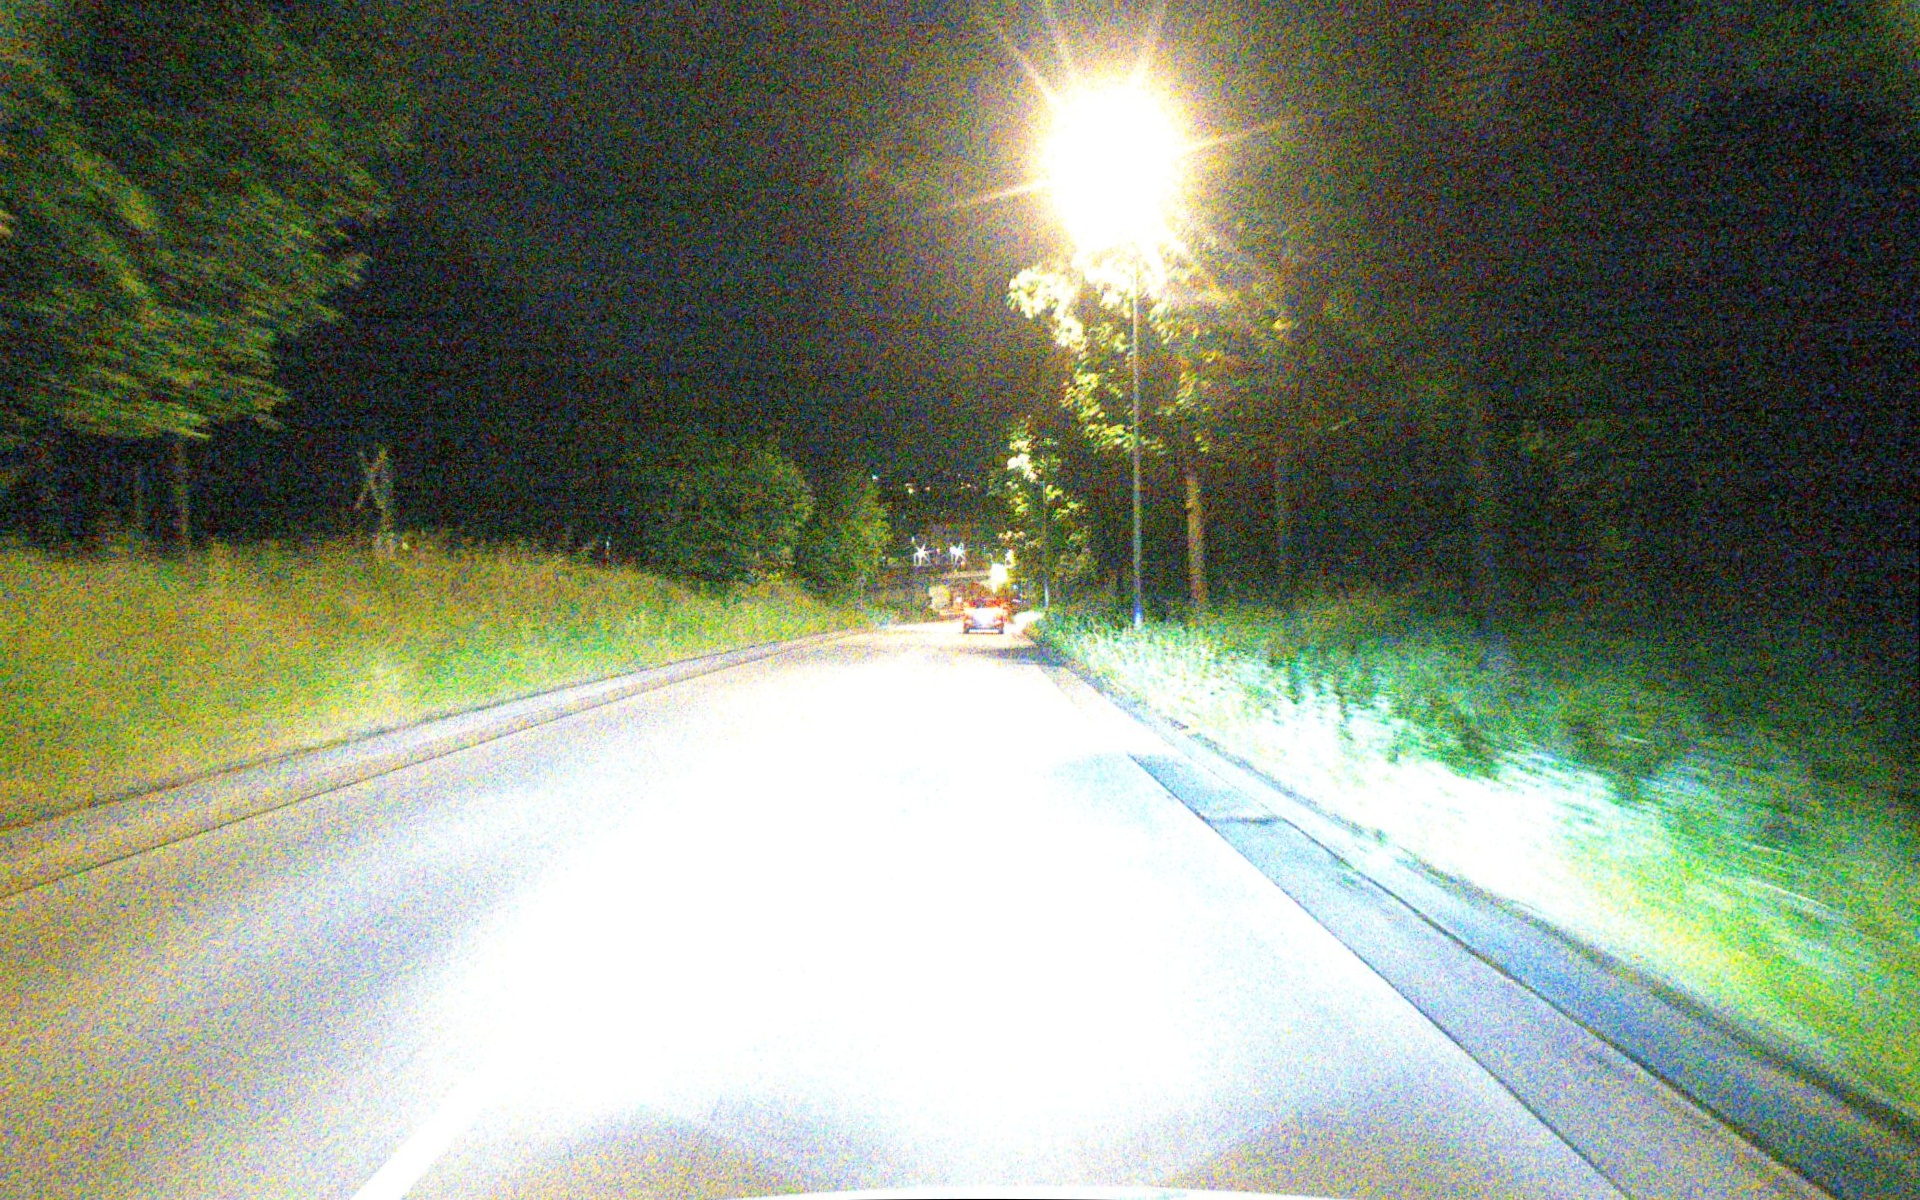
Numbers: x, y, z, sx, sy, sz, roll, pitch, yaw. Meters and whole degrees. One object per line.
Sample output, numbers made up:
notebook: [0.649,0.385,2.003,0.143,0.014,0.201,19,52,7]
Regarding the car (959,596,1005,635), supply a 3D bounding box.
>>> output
car: [0.944,0.661,72.718,1.728,1.670,3.720,0,0,-4]
